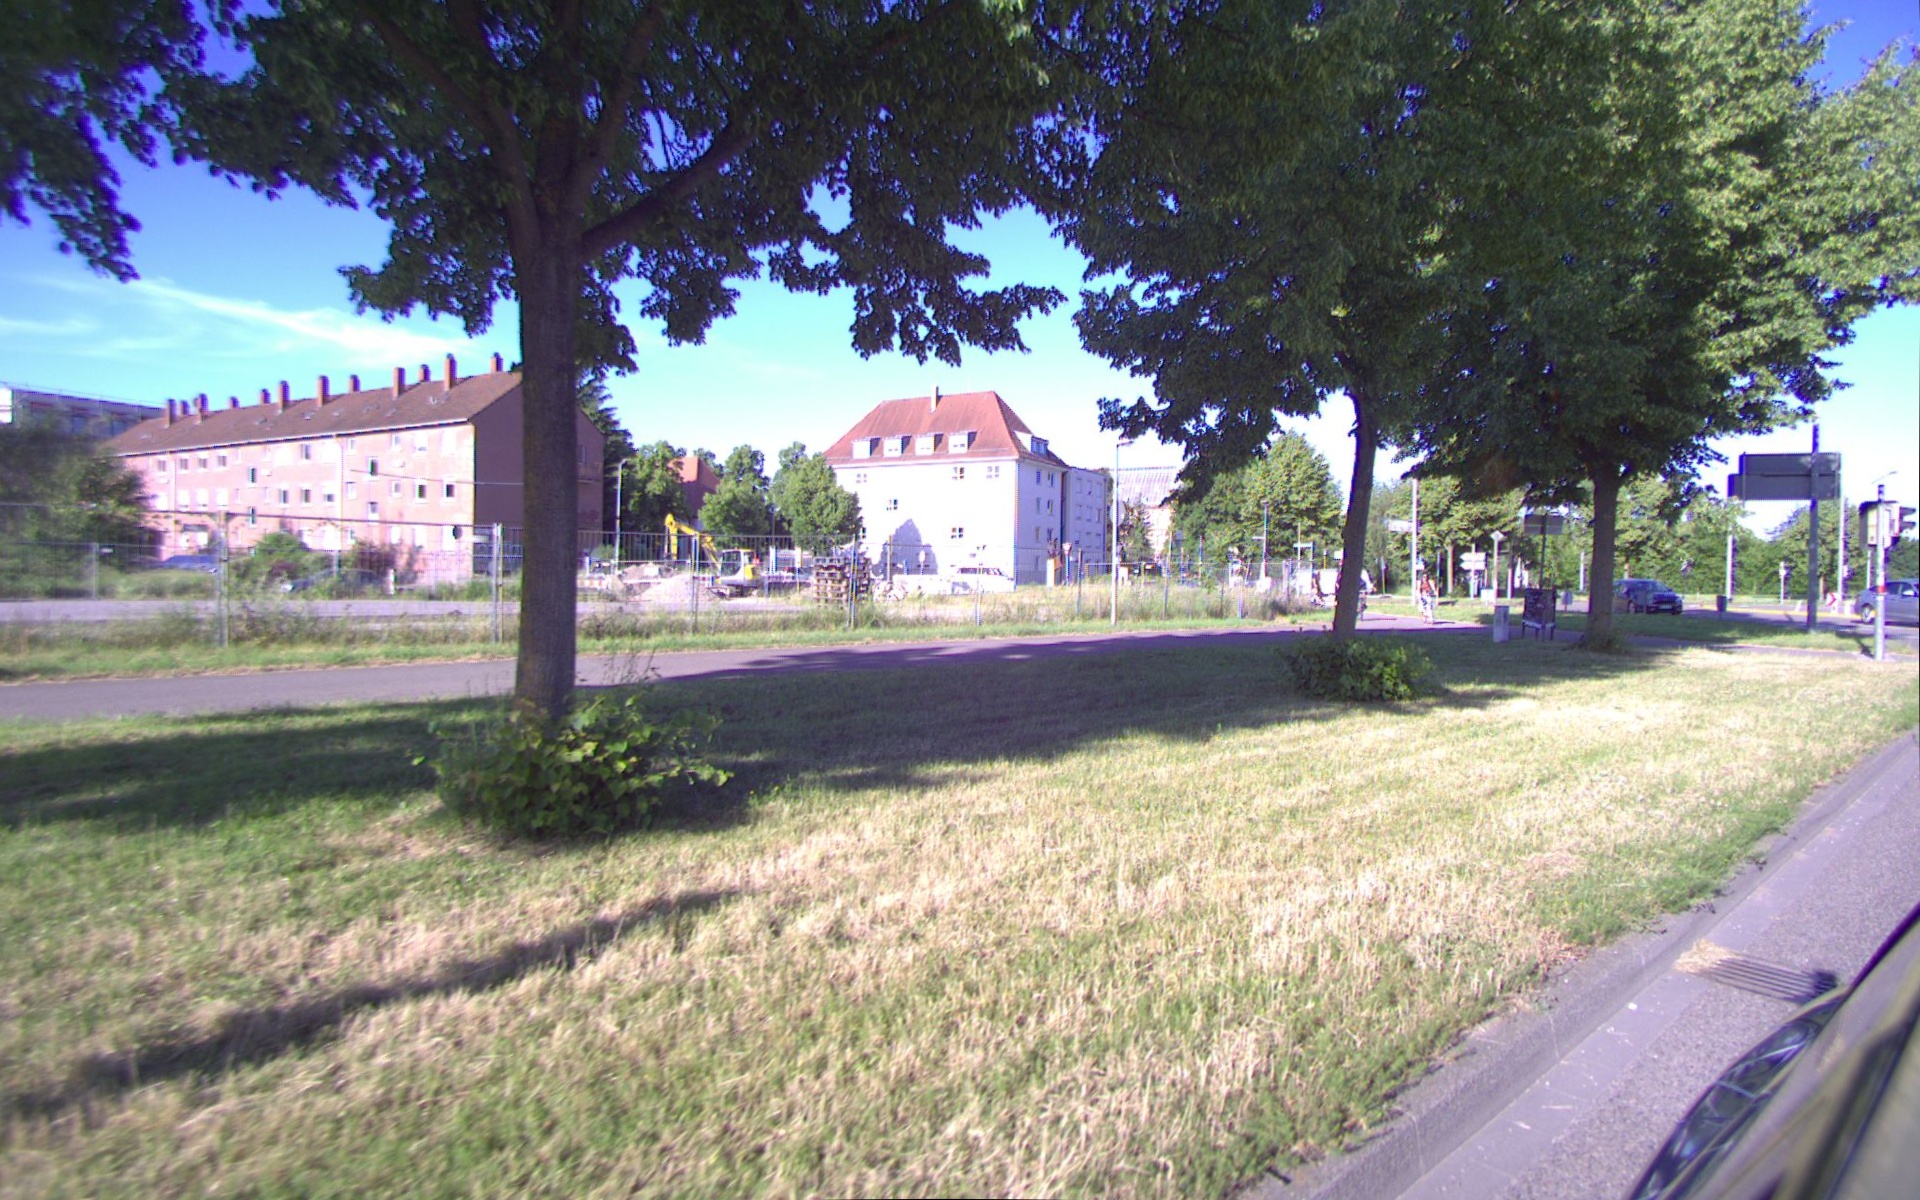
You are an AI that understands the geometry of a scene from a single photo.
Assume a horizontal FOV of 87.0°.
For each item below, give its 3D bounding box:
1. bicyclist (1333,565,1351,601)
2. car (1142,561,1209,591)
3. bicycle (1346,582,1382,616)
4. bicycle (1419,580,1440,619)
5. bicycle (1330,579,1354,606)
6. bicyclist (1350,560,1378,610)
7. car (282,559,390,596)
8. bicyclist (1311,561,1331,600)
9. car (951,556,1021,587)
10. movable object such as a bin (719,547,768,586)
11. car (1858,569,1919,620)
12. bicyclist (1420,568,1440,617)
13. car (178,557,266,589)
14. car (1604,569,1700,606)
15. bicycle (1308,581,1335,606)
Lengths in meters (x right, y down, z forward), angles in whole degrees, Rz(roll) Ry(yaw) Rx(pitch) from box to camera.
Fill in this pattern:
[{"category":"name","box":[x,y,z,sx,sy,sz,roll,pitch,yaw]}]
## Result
[{"category":"bicyclist","box":[16.175,-0.730,42.824,0.463,1.504,0.915,-1,2,5]},{"category":"car","box":[13.338,-1.509,62.689,3.541,1.772,2.001,2,2,34]},{"category":"bicycle","box":[12.822,-0.057,32.150,0.646,1.025,1.816,1,1,8]},{"category":"bicycle","box":[14.541,-0.039,31.356,0.501,1.166,1.593,1,1,22]},{"category":"bicycle","box":[16.184,-0.326,42.897,0.471,1.095,1.642,-1,2,5]},{"category":"bicyclist","box":[12.823,-0.495,32.123,0.644,1.572,0.793,0,1,8]},{"category":"car","box":[-27.732,-1.017,44.985,3.840,1.576,1.997,-1,2,-41]},{"category":"bicyclist","box":[15.177,-0.823,42.570,0.582,1.606,0.965,0,2,5]},{"category":"car","box":[1.807,-1.982,70.082,4.433,2.038,1.980,1,2,29]},{"category":"movable object such as a bin","box":[-11.852,-1.839,55.408,2.034,2.038,1.996,0,2,8]},{"category":"car","box":[30.800,-0.179,31.694,1.820,1.588,4.517,1,2,10]},{"category":"bicyclist","box":[14.502,-0.237,31.257,0.499,1.491,0.827,1,2,23]},{"category":"car","box":[-39.782,-1.432,54.576,3.730,1.653,1.898,-1,2,-41]},{"category":"car","box":[28.784,-0.573,42.254,1.821,1.445,3.937,1,2,10]},{"category":"bicycle","box":[15.183,-0.291,42.561,0.582,0.972,1.899,-1,2,5]}]
